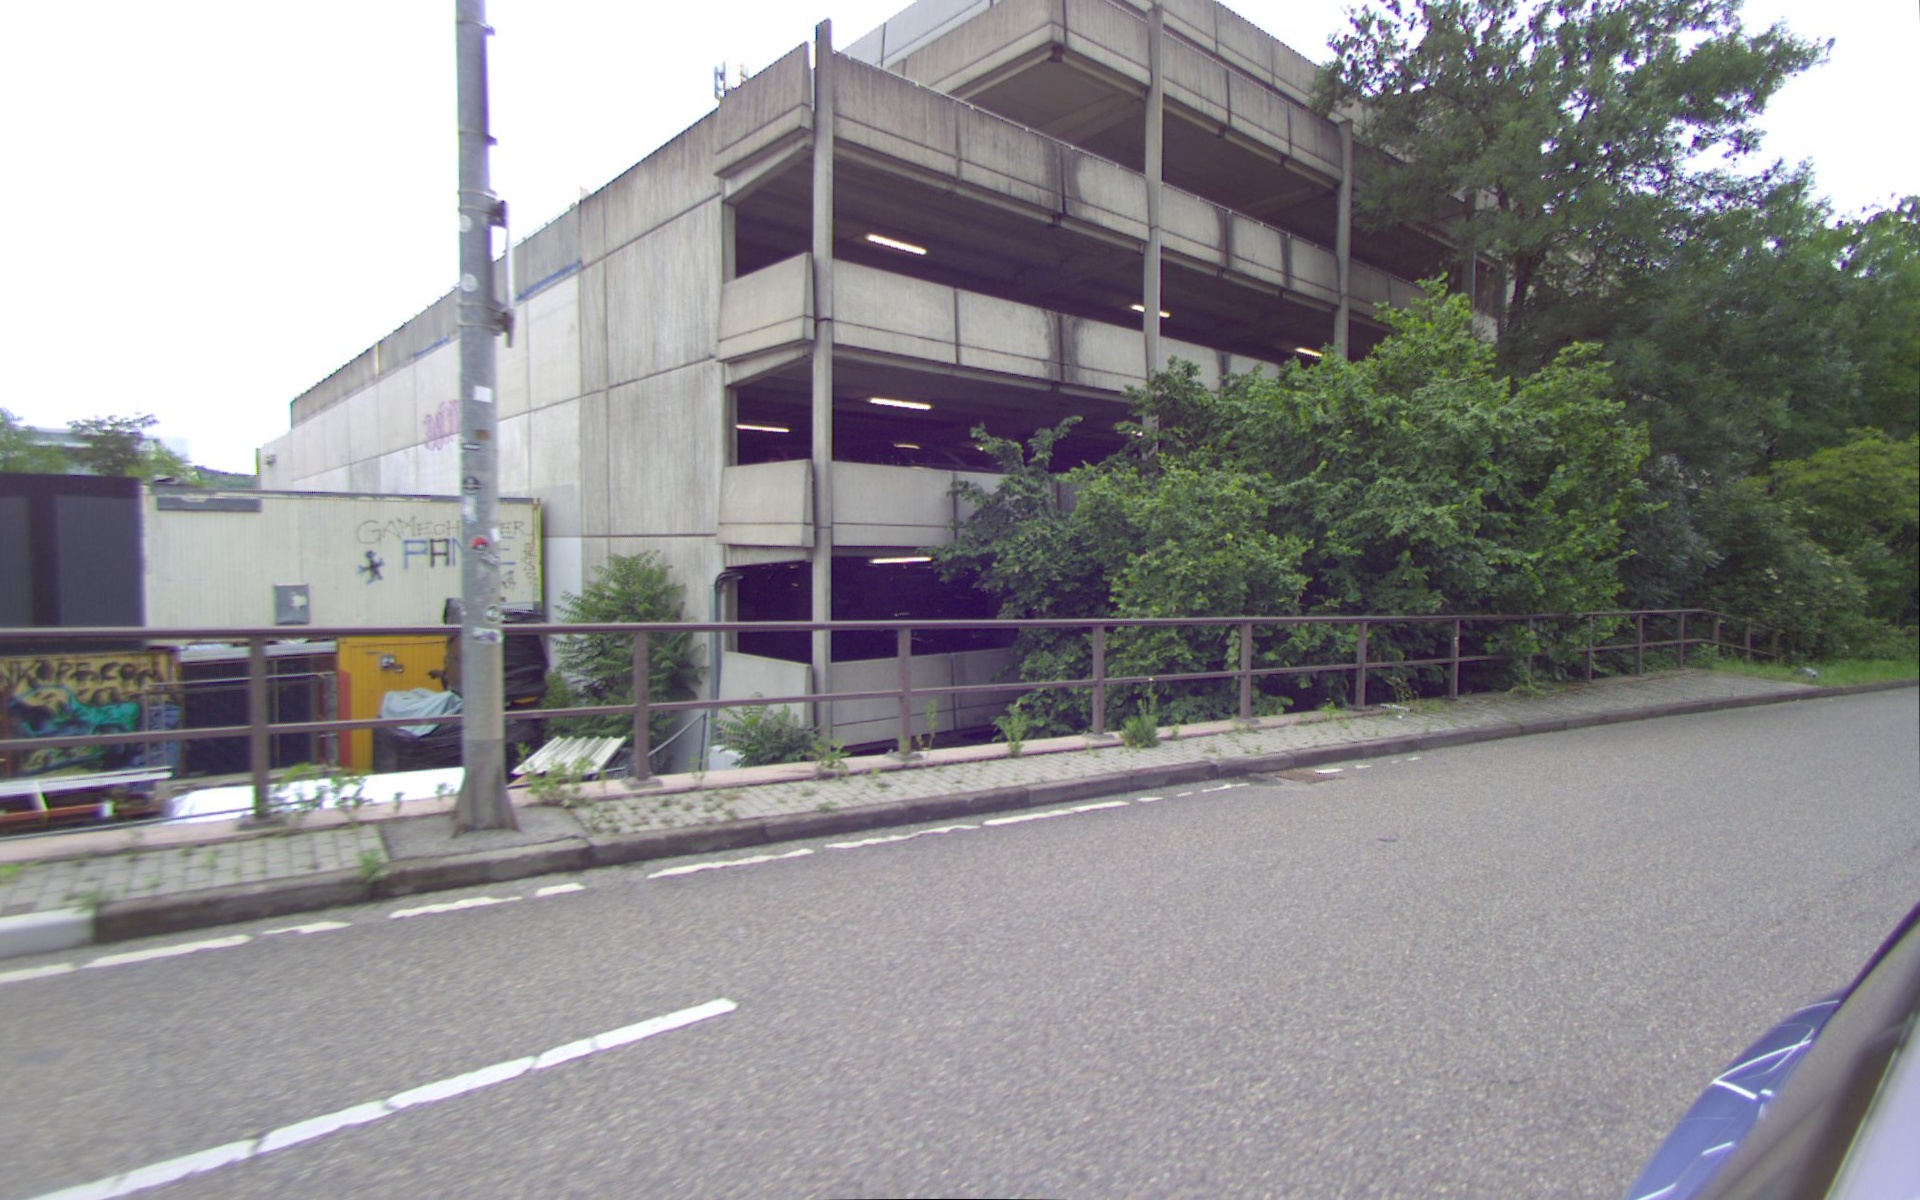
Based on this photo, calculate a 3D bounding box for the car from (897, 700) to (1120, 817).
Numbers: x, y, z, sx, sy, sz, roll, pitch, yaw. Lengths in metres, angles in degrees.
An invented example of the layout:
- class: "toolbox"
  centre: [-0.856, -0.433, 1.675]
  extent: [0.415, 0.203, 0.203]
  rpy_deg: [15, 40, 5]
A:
- class: "car"
  centre: [0.902, 3.182, 21.170]
  extent: [1.967, 1.447, 4.658]
  rpy_deg: [-4, 4, -42]

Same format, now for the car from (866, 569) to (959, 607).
- class: "car"
  centre: [-1.936, -0.496, 40.513]
  extent: [1.690, 1.438, 3.672]
  rpy_deg: [0, 1, -44]

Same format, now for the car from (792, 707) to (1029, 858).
- class: "car"
  centre: [-1.068, 3.307, 19.331]
  extent: [1.967, 1.806, 4.752]
  rpy_deg: [-3, 3, -42]

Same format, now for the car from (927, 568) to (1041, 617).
- class: "car"
  centre: [0.808, -0.310, 35.829]
  extent: [1.845, 1.497, 3.994]
  rpy_deg: [-4, 5, -42]
